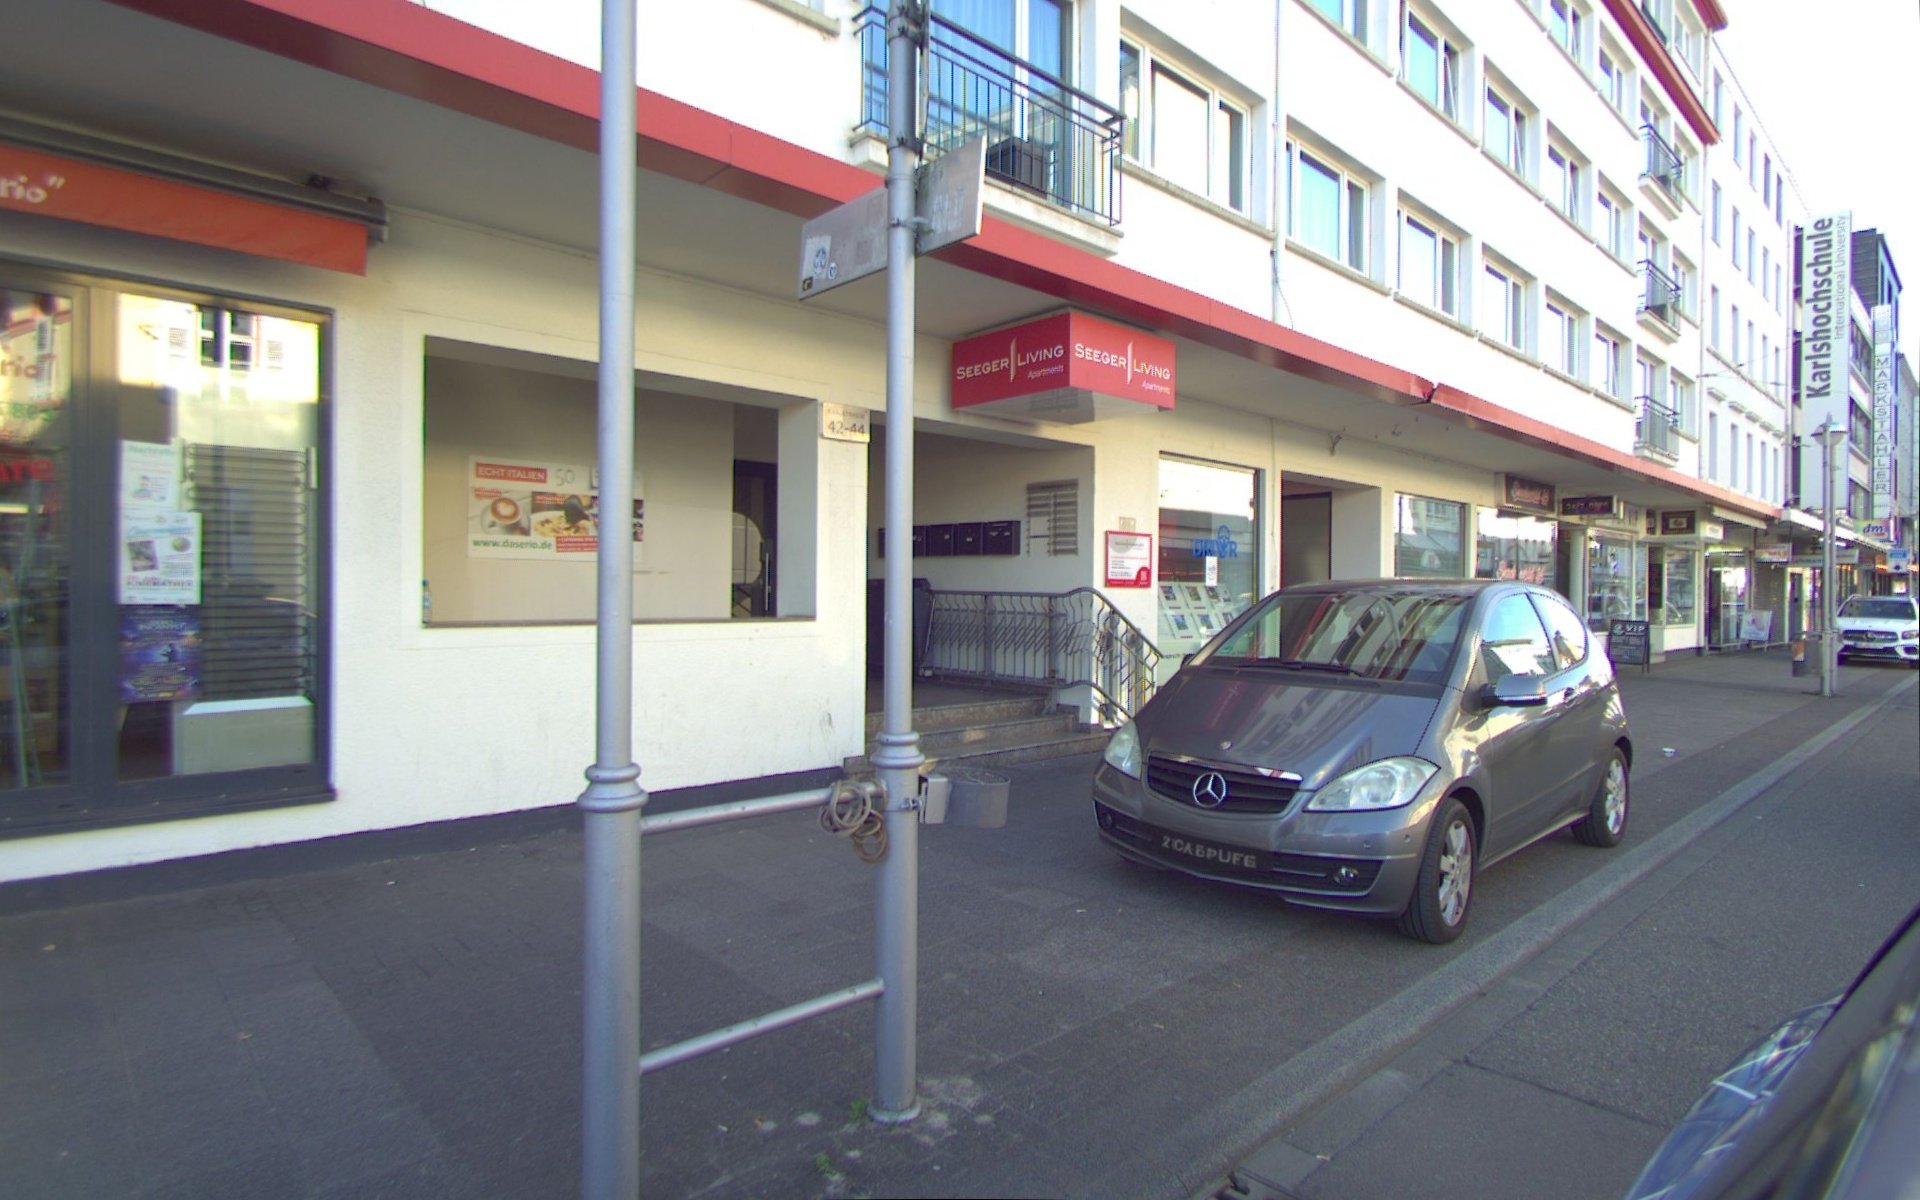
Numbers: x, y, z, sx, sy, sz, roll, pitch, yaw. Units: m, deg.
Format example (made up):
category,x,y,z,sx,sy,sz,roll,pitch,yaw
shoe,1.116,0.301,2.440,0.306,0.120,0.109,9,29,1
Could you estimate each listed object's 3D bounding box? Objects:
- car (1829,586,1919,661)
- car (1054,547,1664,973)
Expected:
category,x,y,z,sx,sy,sz,roll,pitch,yaw
car,22.390,0.520,24.342,1.994,1.650,3.935,1,1,45
car,2.461,0.591,5.691,3.932,1.565,1.681,0,0,-43
